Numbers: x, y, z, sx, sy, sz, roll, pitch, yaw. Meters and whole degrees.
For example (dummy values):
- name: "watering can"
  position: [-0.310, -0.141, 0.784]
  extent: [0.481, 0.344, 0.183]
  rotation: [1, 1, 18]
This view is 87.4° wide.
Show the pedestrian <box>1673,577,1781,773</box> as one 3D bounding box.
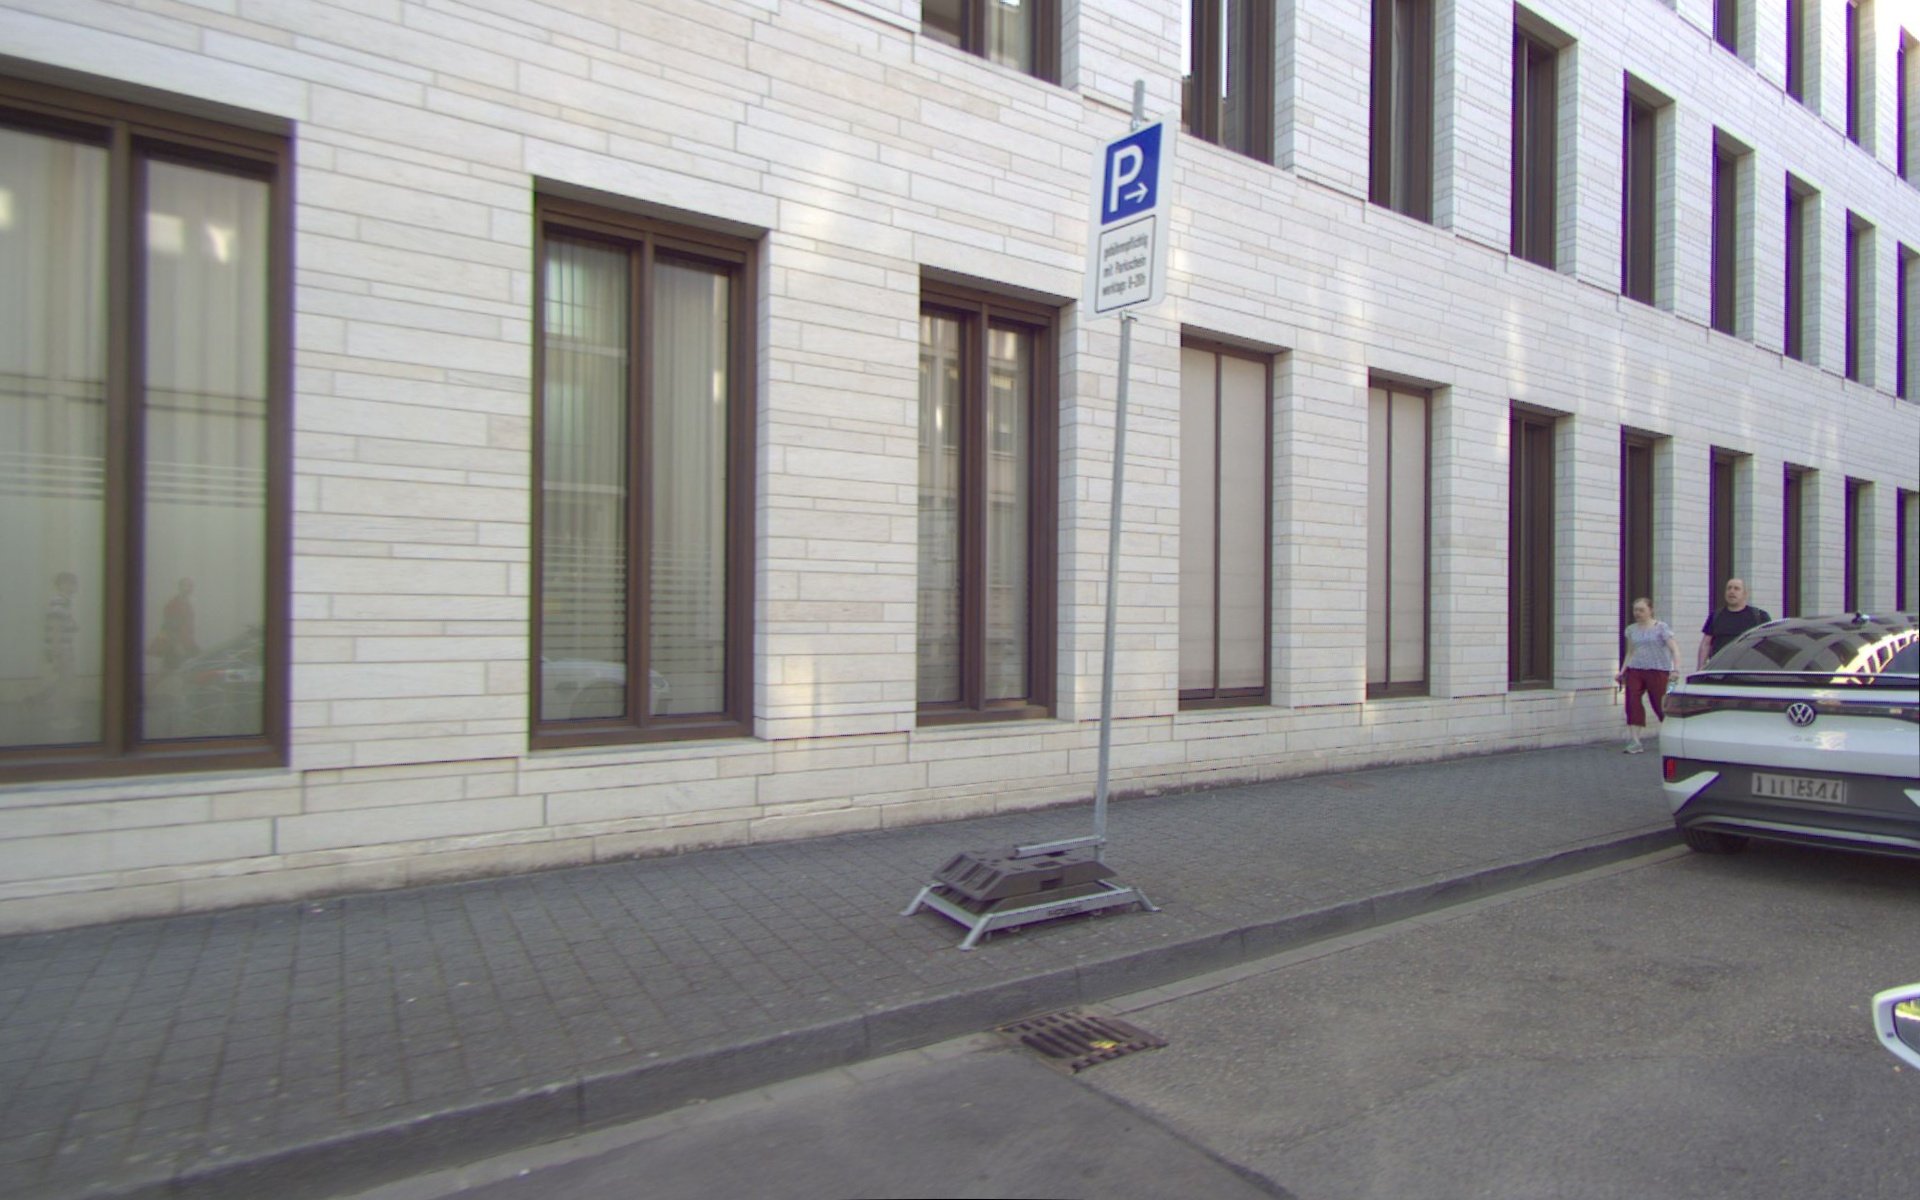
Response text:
- name: "pedestrian"
  position: [7.416, 0.703, 9.722]
  extent: [0.569, 1.813, 0.638]
  rotation: [2, 0, -32]

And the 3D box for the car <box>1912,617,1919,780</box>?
- name: "car"
  position: [11.445, 0.931, 10.084]
  extent: [4.218, 1.562, 1.812]
  rotation: [1, -2, -33]

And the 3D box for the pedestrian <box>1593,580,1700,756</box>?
- name: "pedestrian"
  position: [7.380, 0.709, 10.803]
  extent: [0.808, 1.813, 0.640]
  rotation: [2, 0, -32]

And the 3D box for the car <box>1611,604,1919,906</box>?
- name: "car"
  position: [6.539, 0.839, 6.859]
  extent: [4.397, 1.562, 1.813]
  rotation: [0, -2, -32]
